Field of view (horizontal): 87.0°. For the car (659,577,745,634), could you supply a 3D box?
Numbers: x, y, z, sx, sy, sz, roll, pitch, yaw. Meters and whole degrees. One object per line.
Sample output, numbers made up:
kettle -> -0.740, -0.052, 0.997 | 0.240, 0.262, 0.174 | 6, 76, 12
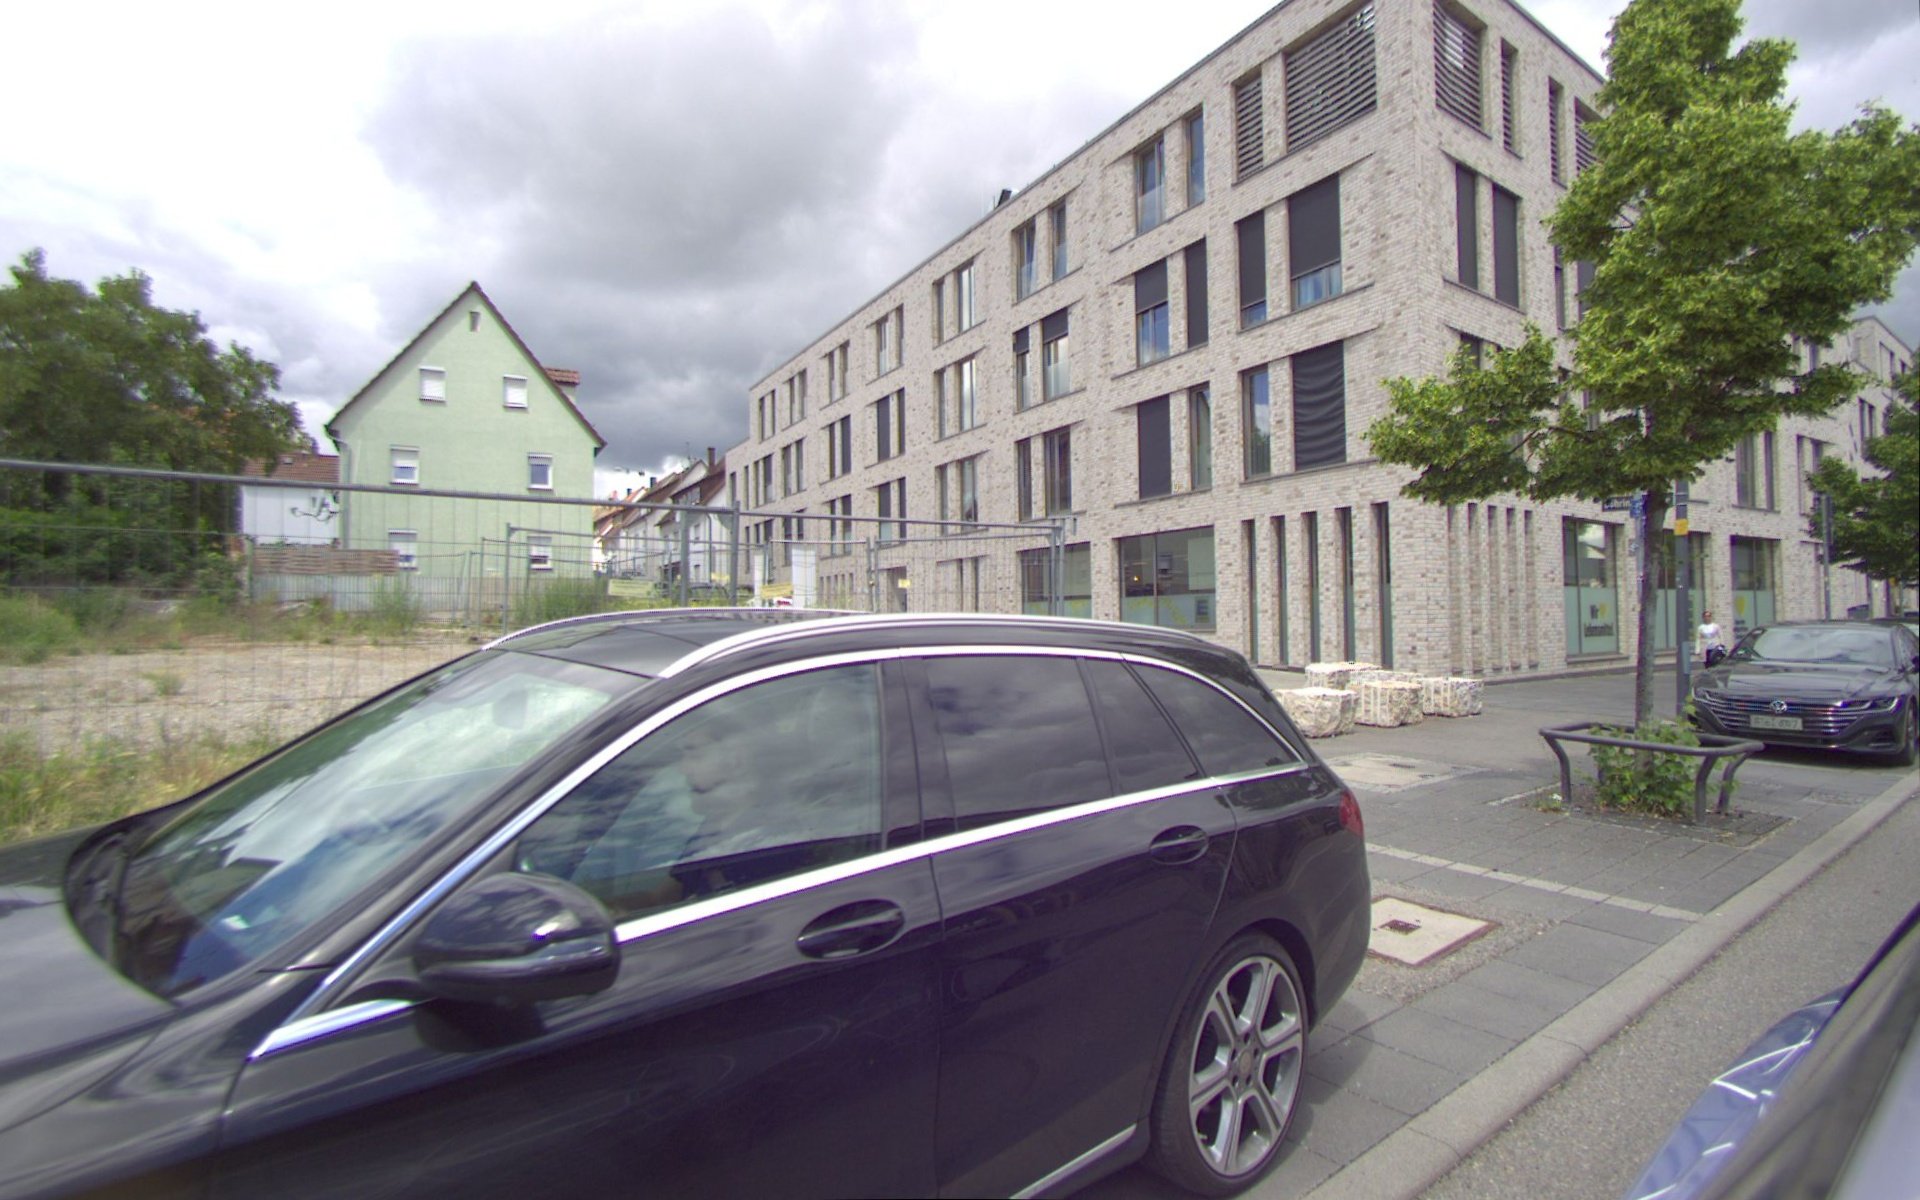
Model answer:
car -> -8.289, 0.133, 32.234 | 1.830, 1.626, 4.269 | 2, 1, -25

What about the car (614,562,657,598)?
car -> -22.892, -1.399, 71.198 | 1.959, 2.361, 5.082 | 4, 0, -27

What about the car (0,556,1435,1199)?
car -> -0.733, 0.693, 2.396 | 4.398, 1.470, 1.785 | 1, 0, -42

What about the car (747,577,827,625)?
car -> -6.840, 0.007, 39.656 | 1.831, 1.626, 4.269 | 4, 0, -27

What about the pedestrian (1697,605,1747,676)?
pedestrian -> 16.376, 0.851, 21.758 | 0.775, 1.491, 0.609 | 1, -1, -31

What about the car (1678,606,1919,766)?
car -> 10.047, 0.815, 11.596 | 4.560, 1.469, 1.869 | 0, 0, -40

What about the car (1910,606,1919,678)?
car -> 22.138, 0.900, 21.952 | 3.728, 1.502, 1.697 | 0, 0, -38

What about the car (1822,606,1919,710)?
car -> 15.159, 0.842, 15.913 | 4.071, 1.480, 1.697 | 0, 0, -38

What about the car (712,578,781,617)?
car -> -9.686, -0.121, 45.725 | 1.959, 1.571, 4.006 | 4, 0, -27
